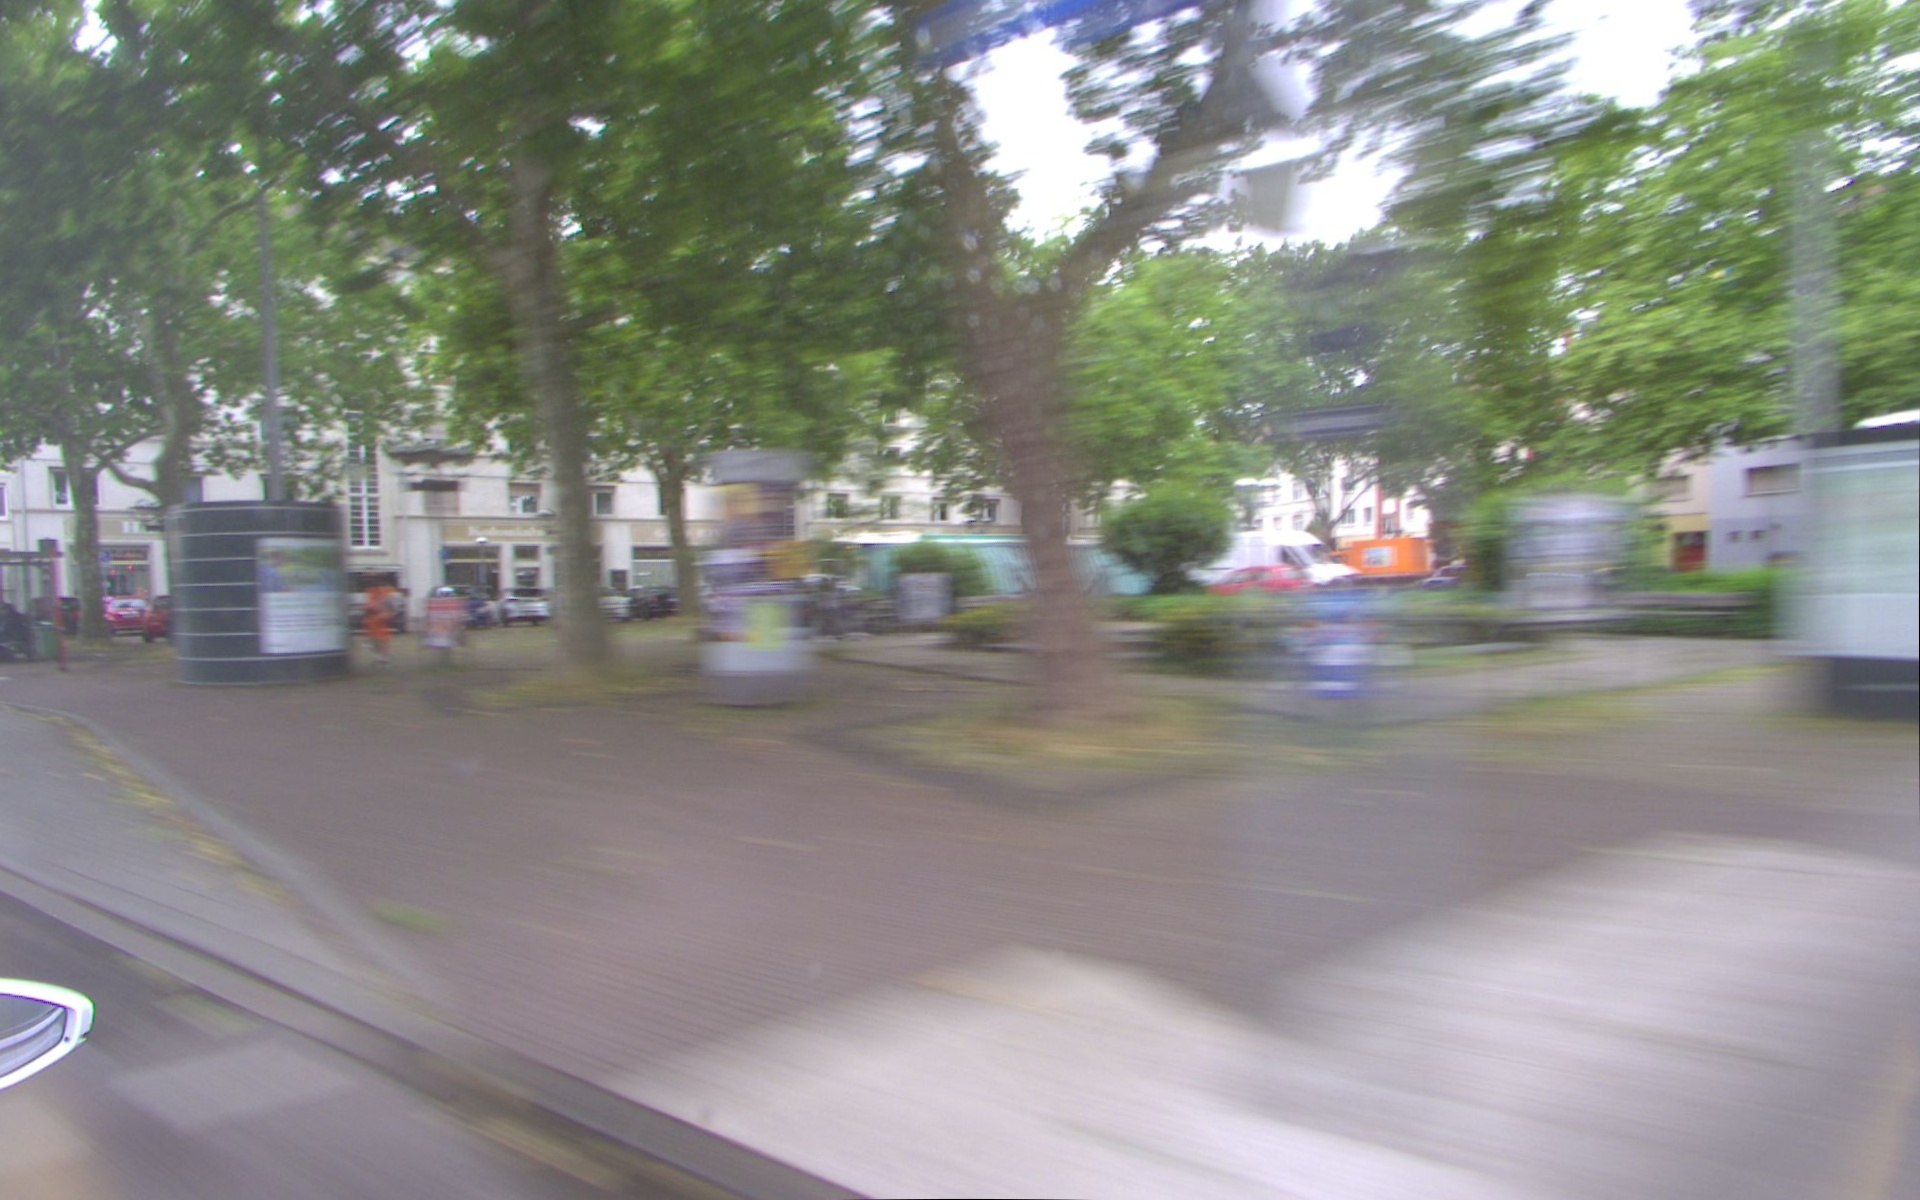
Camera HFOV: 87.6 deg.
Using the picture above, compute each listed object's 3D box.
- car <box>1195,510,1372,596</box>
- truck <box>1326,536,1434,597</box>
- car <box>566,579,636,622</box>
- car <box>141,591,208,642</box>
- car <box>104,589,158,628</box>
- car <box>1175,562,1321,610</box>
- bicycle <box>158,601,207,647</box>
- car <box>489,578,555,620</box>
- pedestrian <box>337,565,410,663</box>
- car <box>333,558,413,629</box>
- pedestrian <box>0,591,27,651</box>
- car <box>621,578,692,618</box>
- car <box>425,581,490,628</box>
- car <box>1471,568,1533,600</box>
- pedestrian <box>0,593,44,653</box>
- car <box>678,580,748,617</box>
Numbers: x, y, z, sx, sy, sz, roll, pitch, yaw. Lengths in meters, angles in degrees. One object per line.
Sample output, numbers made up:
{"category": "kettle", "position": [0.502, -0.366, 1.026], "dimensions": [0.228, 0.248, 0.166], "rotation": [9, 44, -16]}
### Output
{"category": "car", "position": [10.838, -1.521, 33.935], "dimensions": [2.217, 2.675, 5.399], "rotation": [-2, 2, -40]}
{"category": "truck", "position": [19.152, -1.488, 45.768], "dimensions": [2.362, 2.626, 3.962], "rotation": [-2, 2, -43]}
{"category": "car", "position": [-13.856, -0.029, 38.515], "dimensions": [1.776, 1.537, 3.804], "rotation": [-2, 2, -31]}
{"category": "car", "position": [-24.473, 0.468, 31.184], "dimensions": [1.502, 1.448, 3.967], "rotation": [-2, 2, -39]}
{"category": "car", "position": [-32.419, 0.296, 39.208], "dimensions": [1.502, 1.448, 3.967], "rotation": [-2, 2, -39]}
{"category": "car", "position": [8.948, -0.461, 31.412], "dimensions": [1.715, 1.418, 4.262], "rotation": [-2, 2, -37]}
{"category": "bicycle", "position": [-21.391, 0.630, 27.588], "dimensions": [0.769, 1.184, 2.319], "rotation": [-2, 2, -31]}
{"category": "car", "position": [-16.610, -0.078, 37.898], "dimensions": [1.776, 1.460, 3.804], "rotation": [-2, 2, -31]}
{"category": "pedestrian", "position": [-10.825, 0.239, 18.489], "dimensions": [0.912, 1.767, 0.782], "rotation": [0, 3, 32]}
{"category": "car", "position": [-19.928, -0.263, 33.917], "dimensions": [2.151, 2.231, 3.975], "rotation": [-2, 2, -32]}
{"category": "pedestrian", "position": [-22.494, 0.491, 23.402], "dimensions": [0.752, 1.391, 0.815], "rotation": [0, 2, 33]}
{"category": "car", "position": [-12.089, -0.113, 39.743], "dimensions": [1.776, 1.460, 3.804], "rotation": [-2, 2, -31]}
{"category": "car", "position": [-18.015, 0.127, 35.816], "dimensions": [1.776, 1.564, 3.804], "rotation": [-2, 2, -31]}
{"category": "car", "position": [30.305, -0.910, 55.979], "dimensions": [3.763, 1.645, 1.503], "rotation": [-2, 2, -35]}
{"category": "pedestrian", "position": [-21.702, 0.516, 22.932], "dimensions": [0.752, 1.333, 0.851], "rotation": [0, 2, 33]}
{"category": "car", "position": [-10.374, -0.089, 41.921], "dimensions": [1.776, 1.460, 3.804], "rotation": [-2, 2, -31]}
